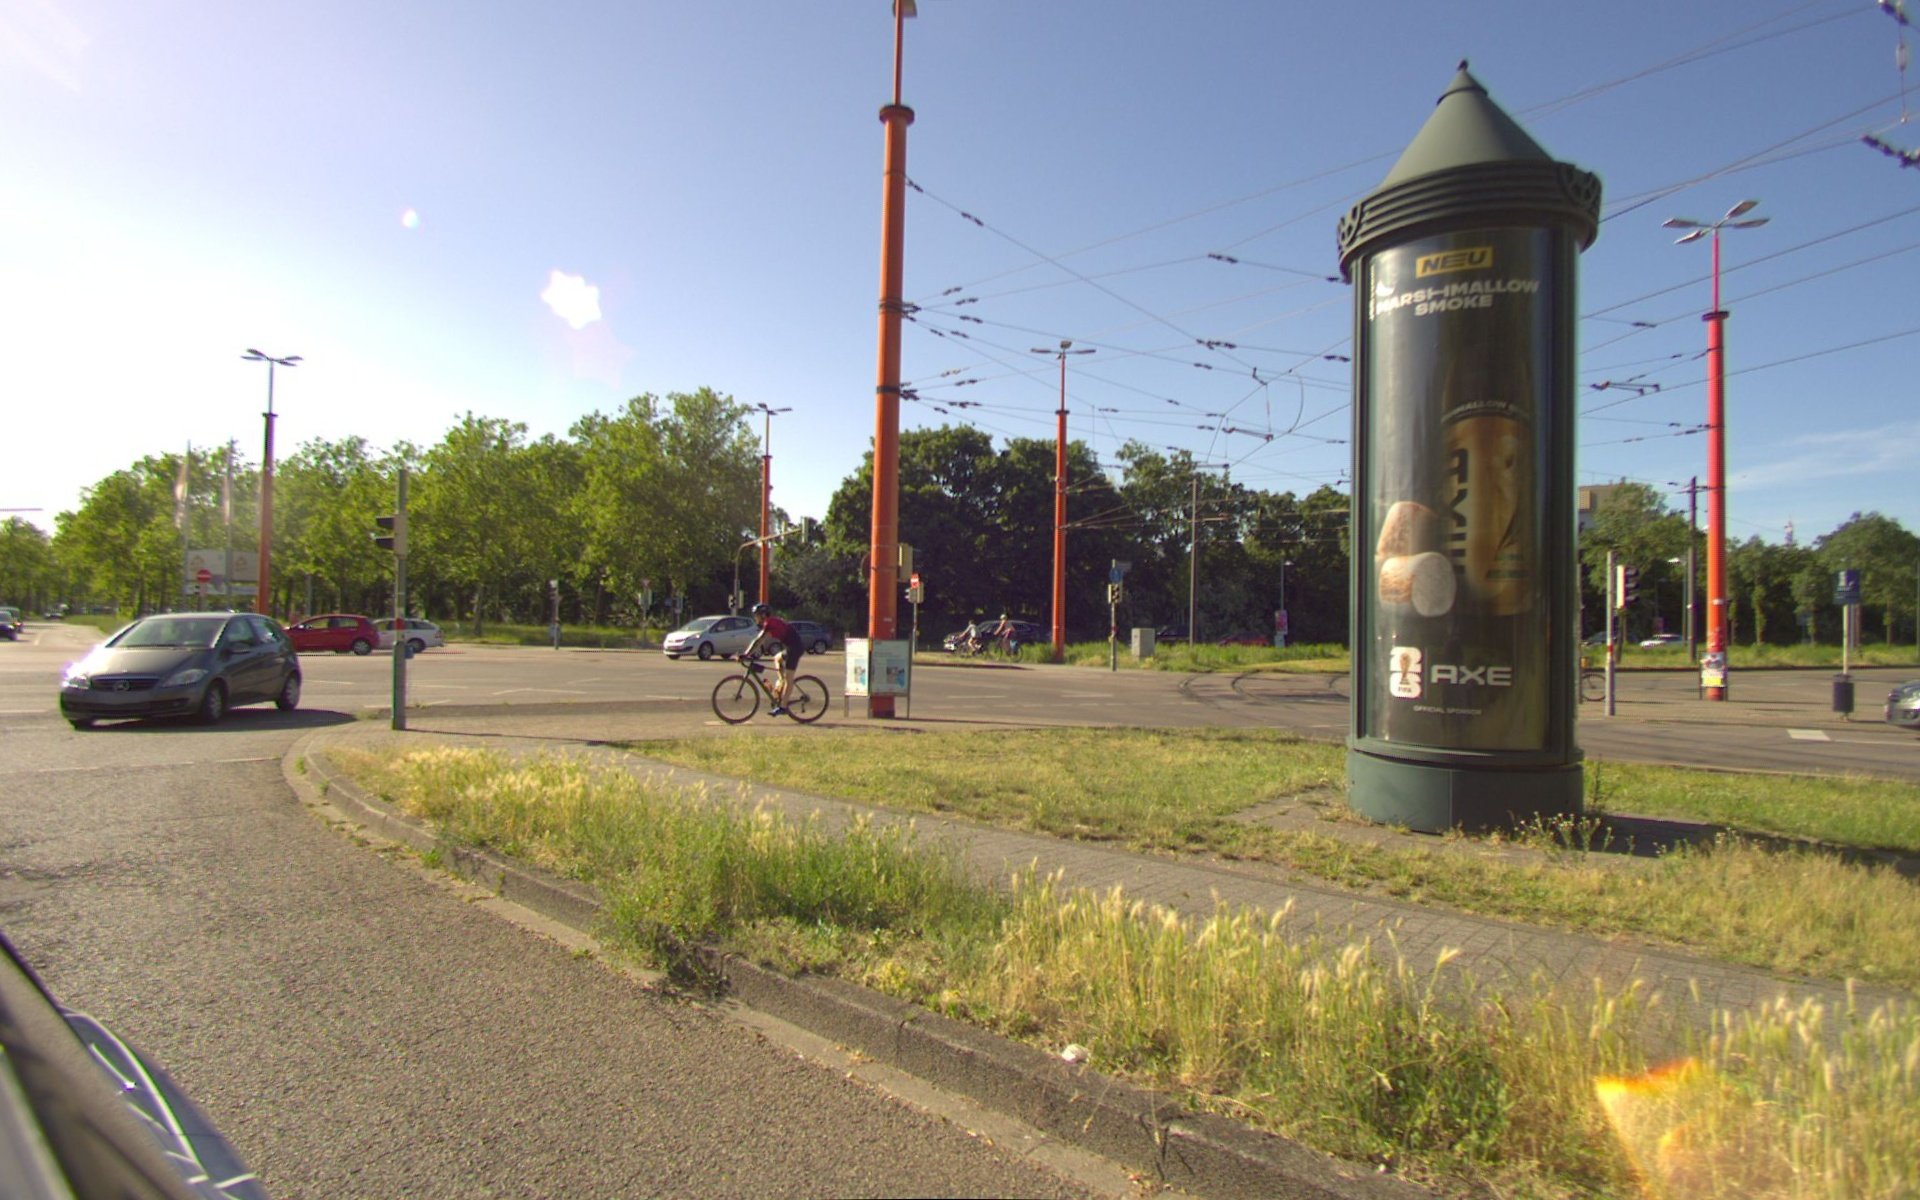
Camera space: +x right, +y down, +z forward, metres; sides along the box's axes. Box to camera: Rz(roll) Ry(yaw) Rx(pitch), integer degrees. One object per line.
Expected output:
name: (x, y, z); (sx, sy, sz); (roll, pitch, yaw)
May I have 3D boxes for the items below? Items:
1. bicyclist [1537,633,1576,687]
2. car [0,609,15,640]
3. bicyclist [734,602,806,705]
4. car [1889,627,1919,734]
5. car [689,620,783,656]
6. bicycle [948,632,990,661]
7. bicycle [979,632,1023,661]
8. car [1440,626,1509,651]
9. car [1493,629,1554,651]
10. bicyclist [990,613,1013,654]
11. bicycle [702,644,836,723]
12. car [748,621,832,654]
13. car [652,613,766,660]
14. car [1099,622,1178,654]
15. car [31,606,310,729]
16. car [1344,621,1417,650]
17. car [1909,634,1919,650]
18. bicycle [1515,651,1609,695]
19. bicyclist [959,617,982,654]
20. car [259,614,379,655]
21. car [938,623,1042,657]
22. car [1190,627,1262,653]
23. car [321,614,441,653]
bicyclist: (15.716, 1.587, 26.682); (0.788, 1.391, 0.654); (-2, -5, 27)
car: (-48.641, 1.227, 50.581); (1.771, 1.522, 4.007); (2, -2, -40)
bicyclist: (-2.827, 0.784, 15.052); (0.940, 1.489, 0.705); (1, -2, -19)
car: (17.342, 1.294, 15.625); (4.263, 1.691, 1.776); (-1, -2, 39)
car: (-9.915, 1.703, 44.786); (3.721, 1.522, 1.618); (2, -3, -29)
bicycle: (0.352, 1.853, 40.386); (1.799, 1.116, 0.493); (-1, -2, 41)
bicycle: (1.651, 1.878, 40.771); (1.799, 1.116, 0.554); (-1, -2, 41)
car: (32.600, 2.478, 64.145); (3.930, 1.522, 1.806); (2, -3, -25)
car: (39.903, 2.841, 71.642); (3.930, 1.522, 1.806); (2, -3, -25)
bicyclist: (1.659, 1.344, 40.789); (0.714, 1.665, 0.554); (-1, -3, 41)
bicycle: (-2.837, 1.220, 15.039); (1.868, 1.116, 0.705); (1, -2, -19)
car: (-8.254, 1.847, 49.231); (3.720, 1.518, 1.619); (2, -3, -25)
car: (-9.087, 1.337, 36.866); (1.701, 1.600, 3.858); (-1, -3, 35)
car: (9.750, 2.087, 55.215); (3.930, 1.667, 1.806); (2, -3, -25)
car: (-11.574, 0.937, 15.203); (1.770, 1.602, 3.771); (1, -1, -11)
car: (27.249, 2.323, 65.569); (4.478, 1.850, 1.806); (2, -3, -25)
car: (90.476, 3.939, 94.149); (3.930, 1.522, 1.806); (2, -3, -25)
bicycle: (15.796, 1.913, 26.610); (2.035, 1.116, 0.654); (-2, -5, 28)
bicyclist: (0.414, 1.422, 40.351); (0.778, 1.458, 0.493); (-1, -3, 41)
car: (-24.007, 1.297, 38.066); (3.608, 1.470, 1.594); (2, -2, -26)
car: (1.423, 1.899, 47.313); (4.546, 1.522, 1.795); (2, -3, -26)
car: (15.882, 2.404, 60.466); (3.930, 1.522, 1.806); (2, -3, -25)
car: (-24.118, 1.418, 42.336); (4.173, 1.522, 1.806); (2, -3, -26)
